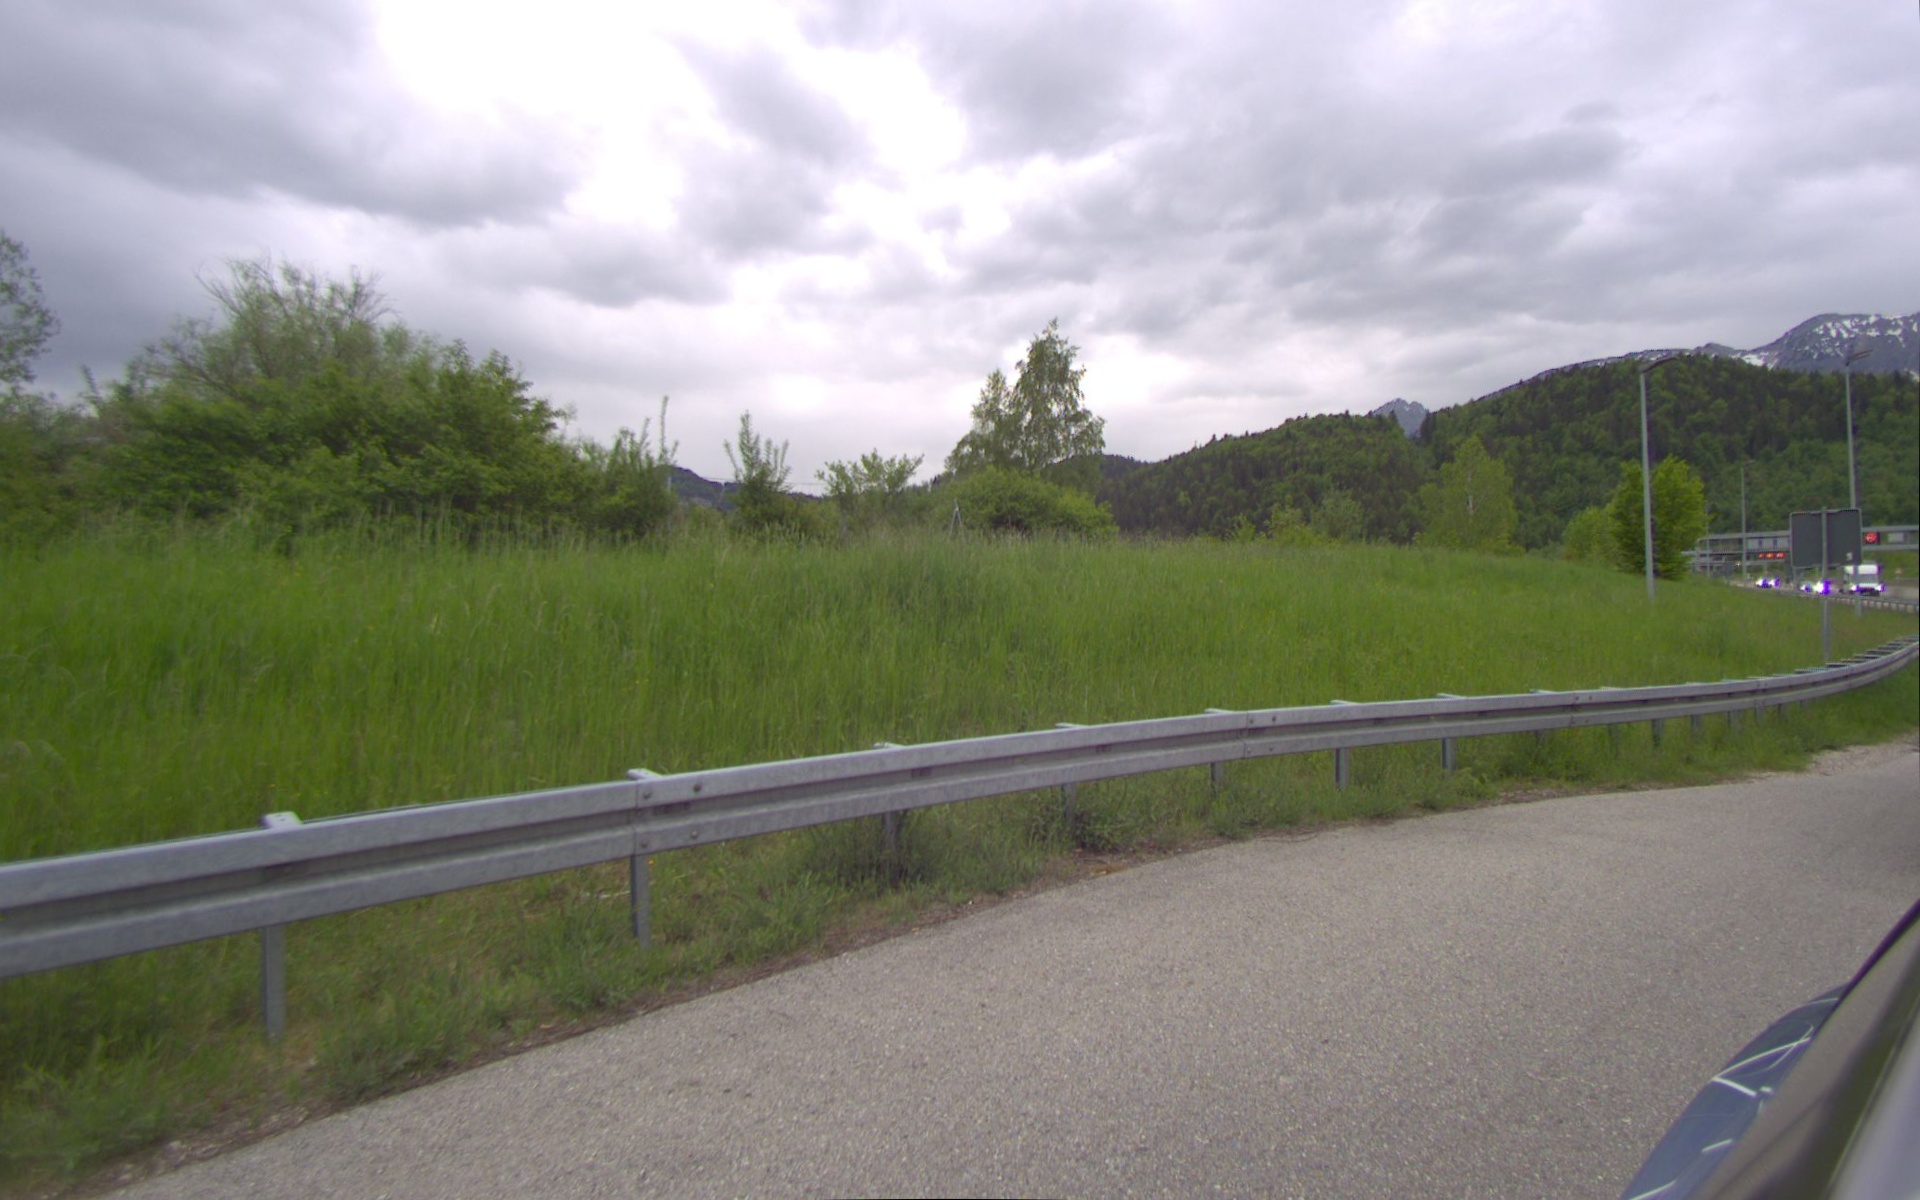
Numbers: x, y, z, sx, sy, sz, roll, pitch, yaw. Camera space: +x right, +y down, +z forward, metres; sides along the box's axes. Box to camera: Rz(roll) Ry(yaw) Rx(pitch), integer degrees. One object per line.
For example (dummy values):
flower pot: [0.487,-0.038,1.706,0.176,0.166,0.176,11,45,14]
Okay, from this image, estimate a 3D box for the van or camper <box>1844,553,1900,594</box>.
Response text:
van or camper: [80.912,-2.327,89.931,2.565,3.434,7.269,1,1,33]

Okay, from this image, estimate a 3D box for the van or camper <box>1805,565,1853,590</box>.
van or camper: [99.632,-2.585,116.161,3.323,2.677,8.097,1,1,35]

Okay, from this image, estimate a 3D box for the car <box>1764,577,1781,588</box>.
car: [126.670,-2.709,157.761,1.710,1.659,4.295,1,1,35]

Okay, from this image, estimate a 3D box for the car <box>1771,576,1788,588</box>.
car: [126.684,-2.797,156.481,1.858,1.895,3.946,1,1,37]
